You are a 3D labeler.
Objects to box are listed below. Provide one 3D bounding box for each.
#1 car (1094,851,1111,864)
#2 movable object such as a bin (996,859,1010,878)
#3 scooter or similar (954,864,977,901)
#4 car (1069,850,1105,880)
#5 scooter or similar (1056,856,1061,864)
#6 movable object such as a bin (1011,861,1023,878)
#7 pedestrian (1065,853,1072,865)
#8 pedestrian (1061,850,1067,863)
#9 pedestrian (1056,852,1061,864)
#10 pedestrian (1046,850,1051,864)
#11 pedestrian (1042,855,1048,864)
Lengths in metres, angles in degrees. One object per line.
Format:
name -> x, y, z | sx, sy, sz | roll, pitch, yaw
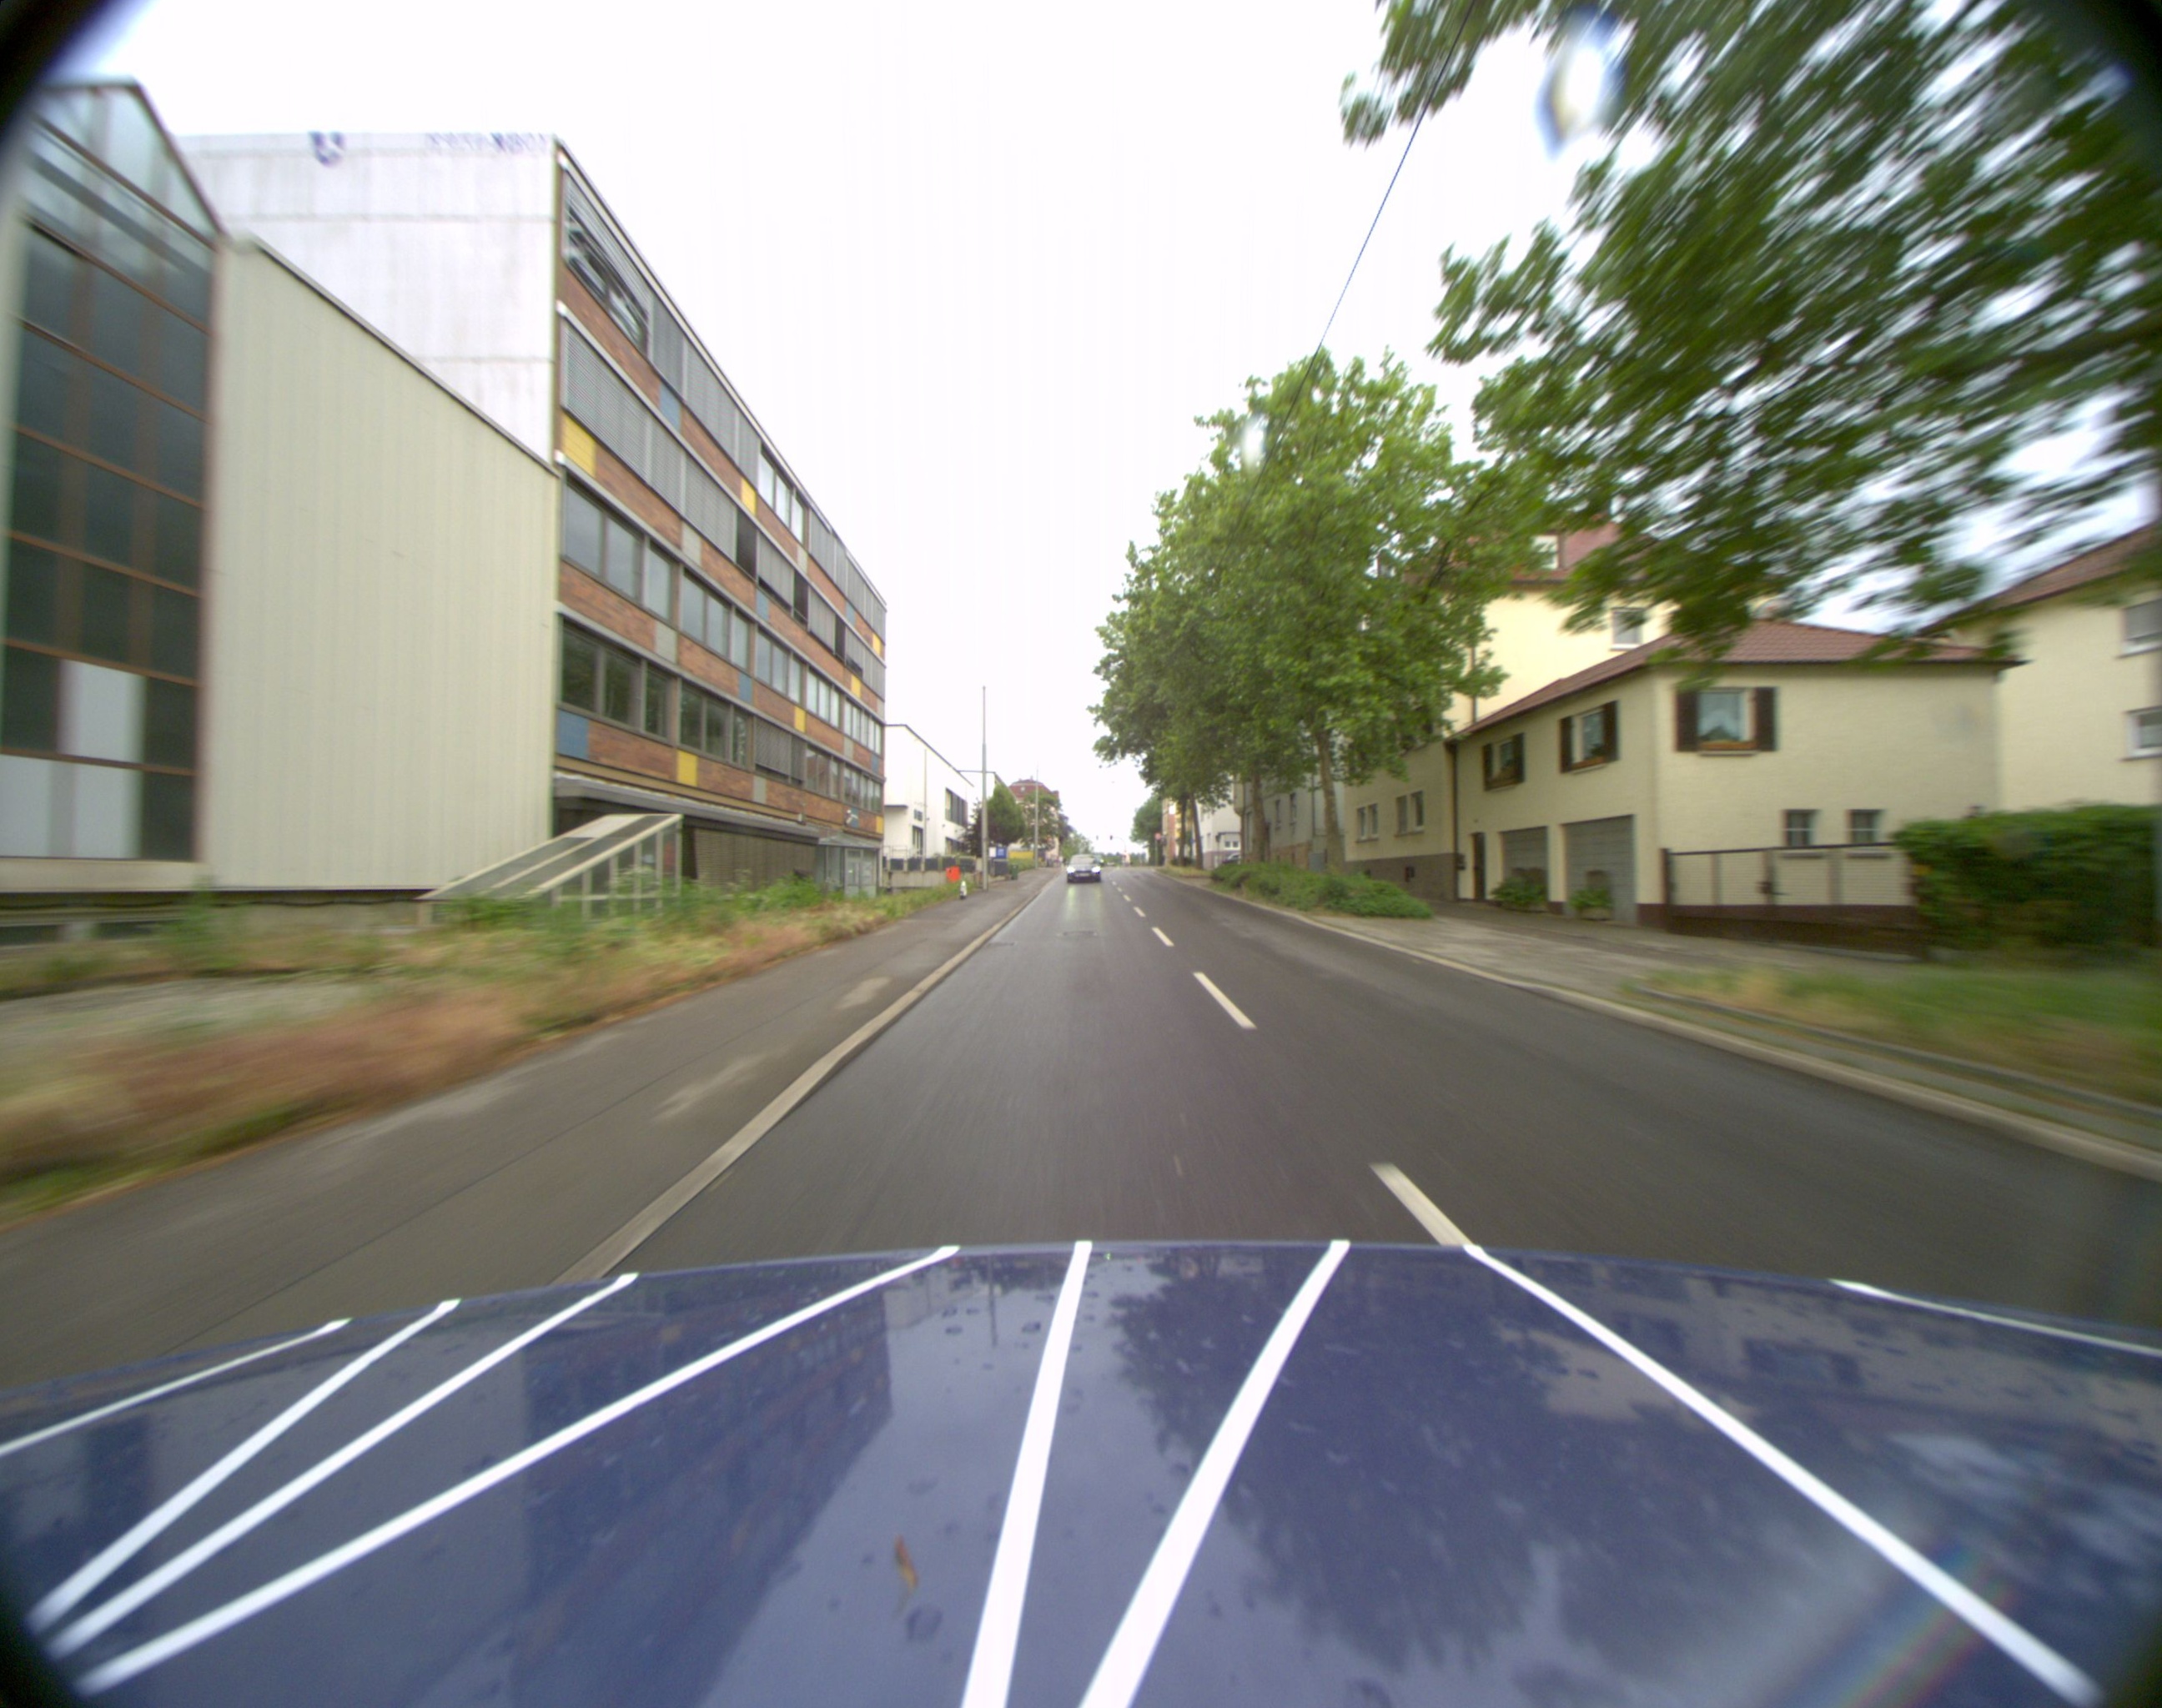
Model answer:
car -> 2.526, 0.378, 88.481 | 1.837, 1.430, 4.000 | 0, 0, 3
movable object such as a bin -> -4.530, 0.851, 44.218 | 0.696, 1.076, 0.778 | 2, 1, 2
scooter or similar -> -3.849, 0.928, 25.459 | 0.607, 1.155, 1.699 | 0, 1, -4
car -> 0.388, 0.642, 41.436 | 1.837, 1.429, 4.002 | -1, -3, 2
scooter or similar -> -3.098, 0.824, 104.505 | 0.619, 1.133, 0.567 | 1, 0, -4
movable object such as a bin -> -3.738, 0.886, 44.361 | 0.621, 0.931, 0.686 | 2, 1, 2
pedestrian -> -1.823, 0.687, 108.616 | 0.637, 1.700, 0.747 | 2, -1, -33
pedestrian -> -2.461, 0.406, 108.410 | 0.634, 1.864, 0.487 | 2, -1, -35
pedestrian -> -3.160, 0.547, 105.142 | 0.662, 1.731, 0.829 | 1, 0, -4
pedestrian -> -4.234, 0.386, 98.482 | 0.648, 1.820, 0.741 | 1, 0, -4
pedestrian -> -4.849, 0.723, 102.445 | 0.662, 1.192, 0.741 | 1, -1, -4
